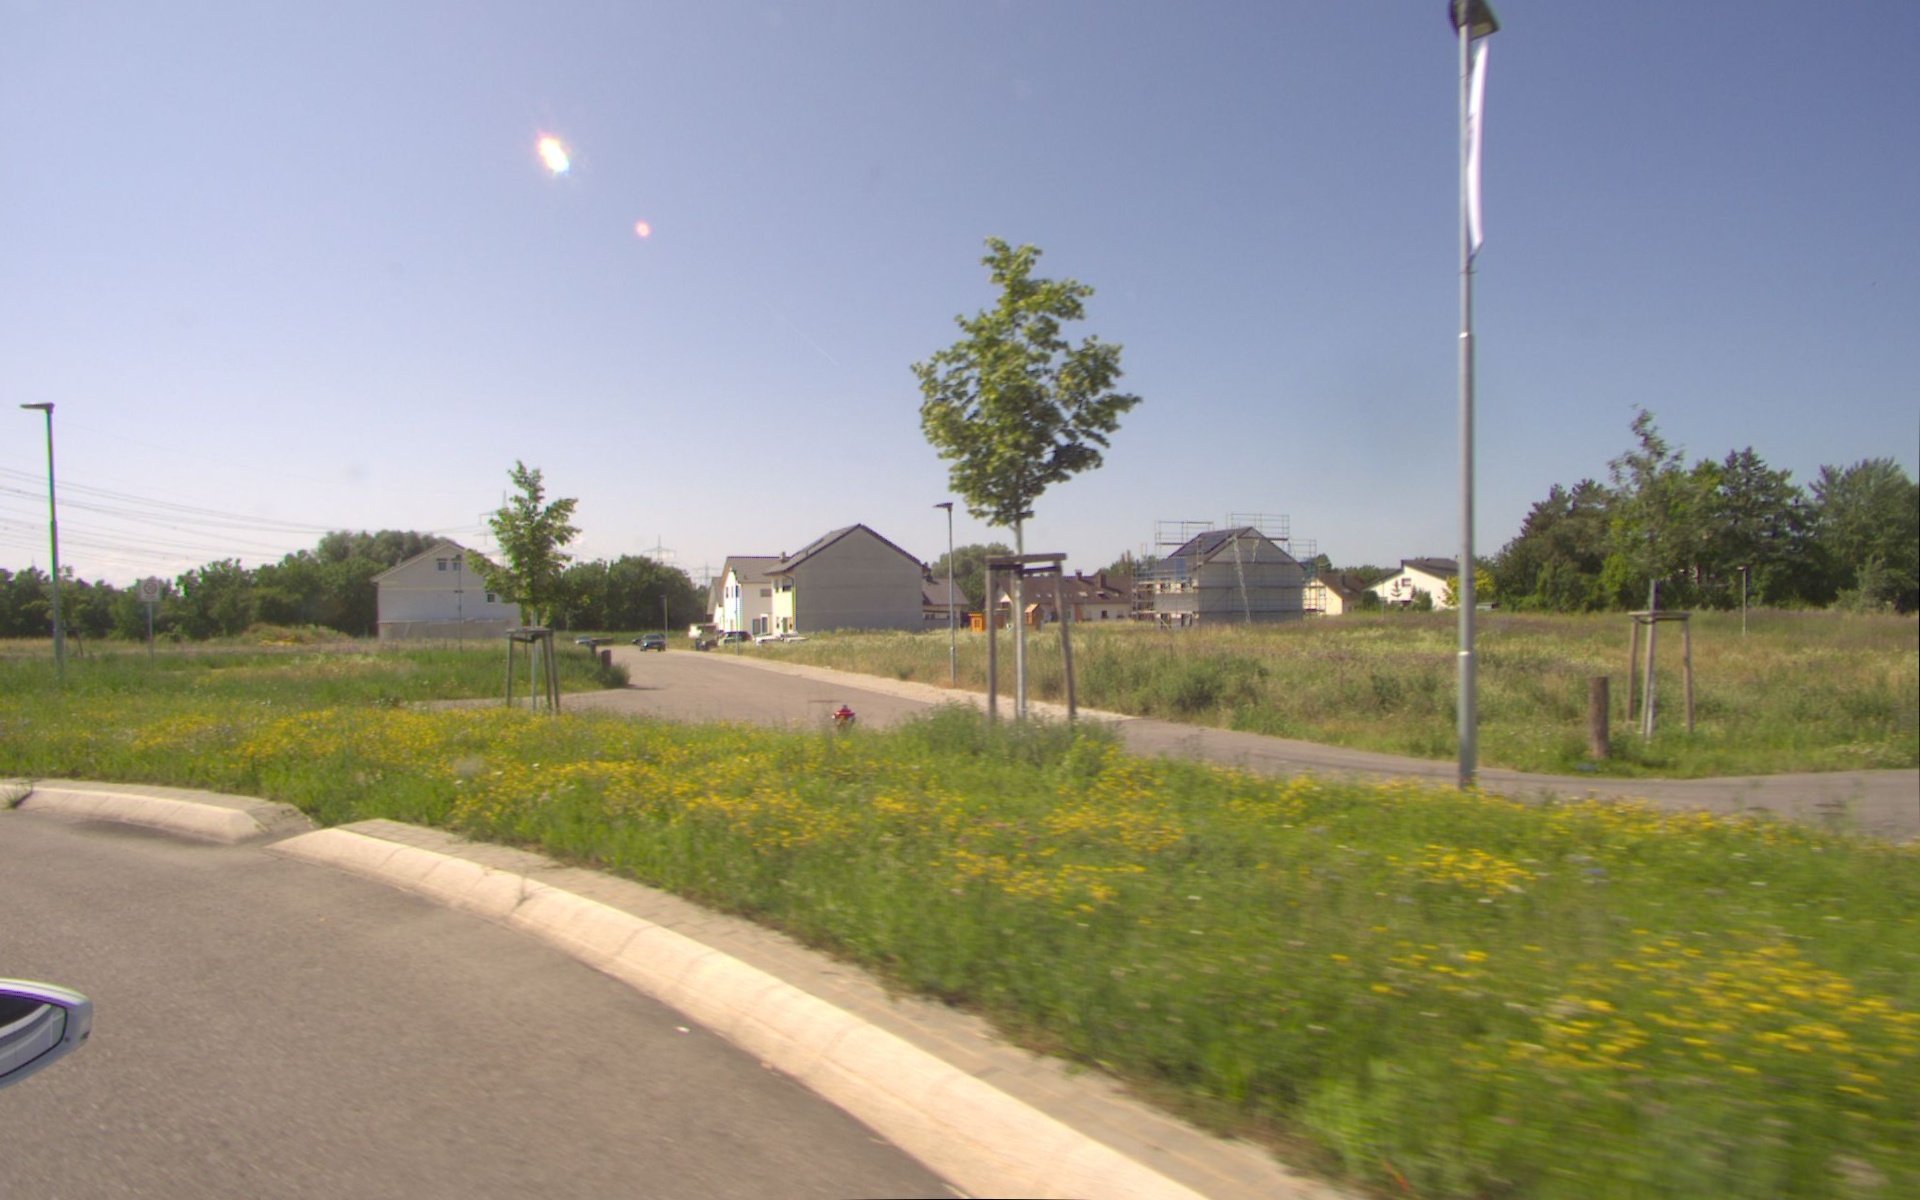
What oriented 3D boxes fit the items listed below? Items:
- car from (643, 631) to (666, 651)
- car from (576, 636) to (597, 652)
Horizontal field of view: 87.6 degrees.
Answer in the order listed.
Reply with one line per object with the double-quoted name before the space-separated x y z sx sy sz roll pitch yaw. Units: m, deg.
"car" -26.240 3.553 86.149 1.650 1.683 3.485 -1 -2 -13
"car" -40.457 4.726 108.426 1.650 1.683 3.485 -1 -2 -13
